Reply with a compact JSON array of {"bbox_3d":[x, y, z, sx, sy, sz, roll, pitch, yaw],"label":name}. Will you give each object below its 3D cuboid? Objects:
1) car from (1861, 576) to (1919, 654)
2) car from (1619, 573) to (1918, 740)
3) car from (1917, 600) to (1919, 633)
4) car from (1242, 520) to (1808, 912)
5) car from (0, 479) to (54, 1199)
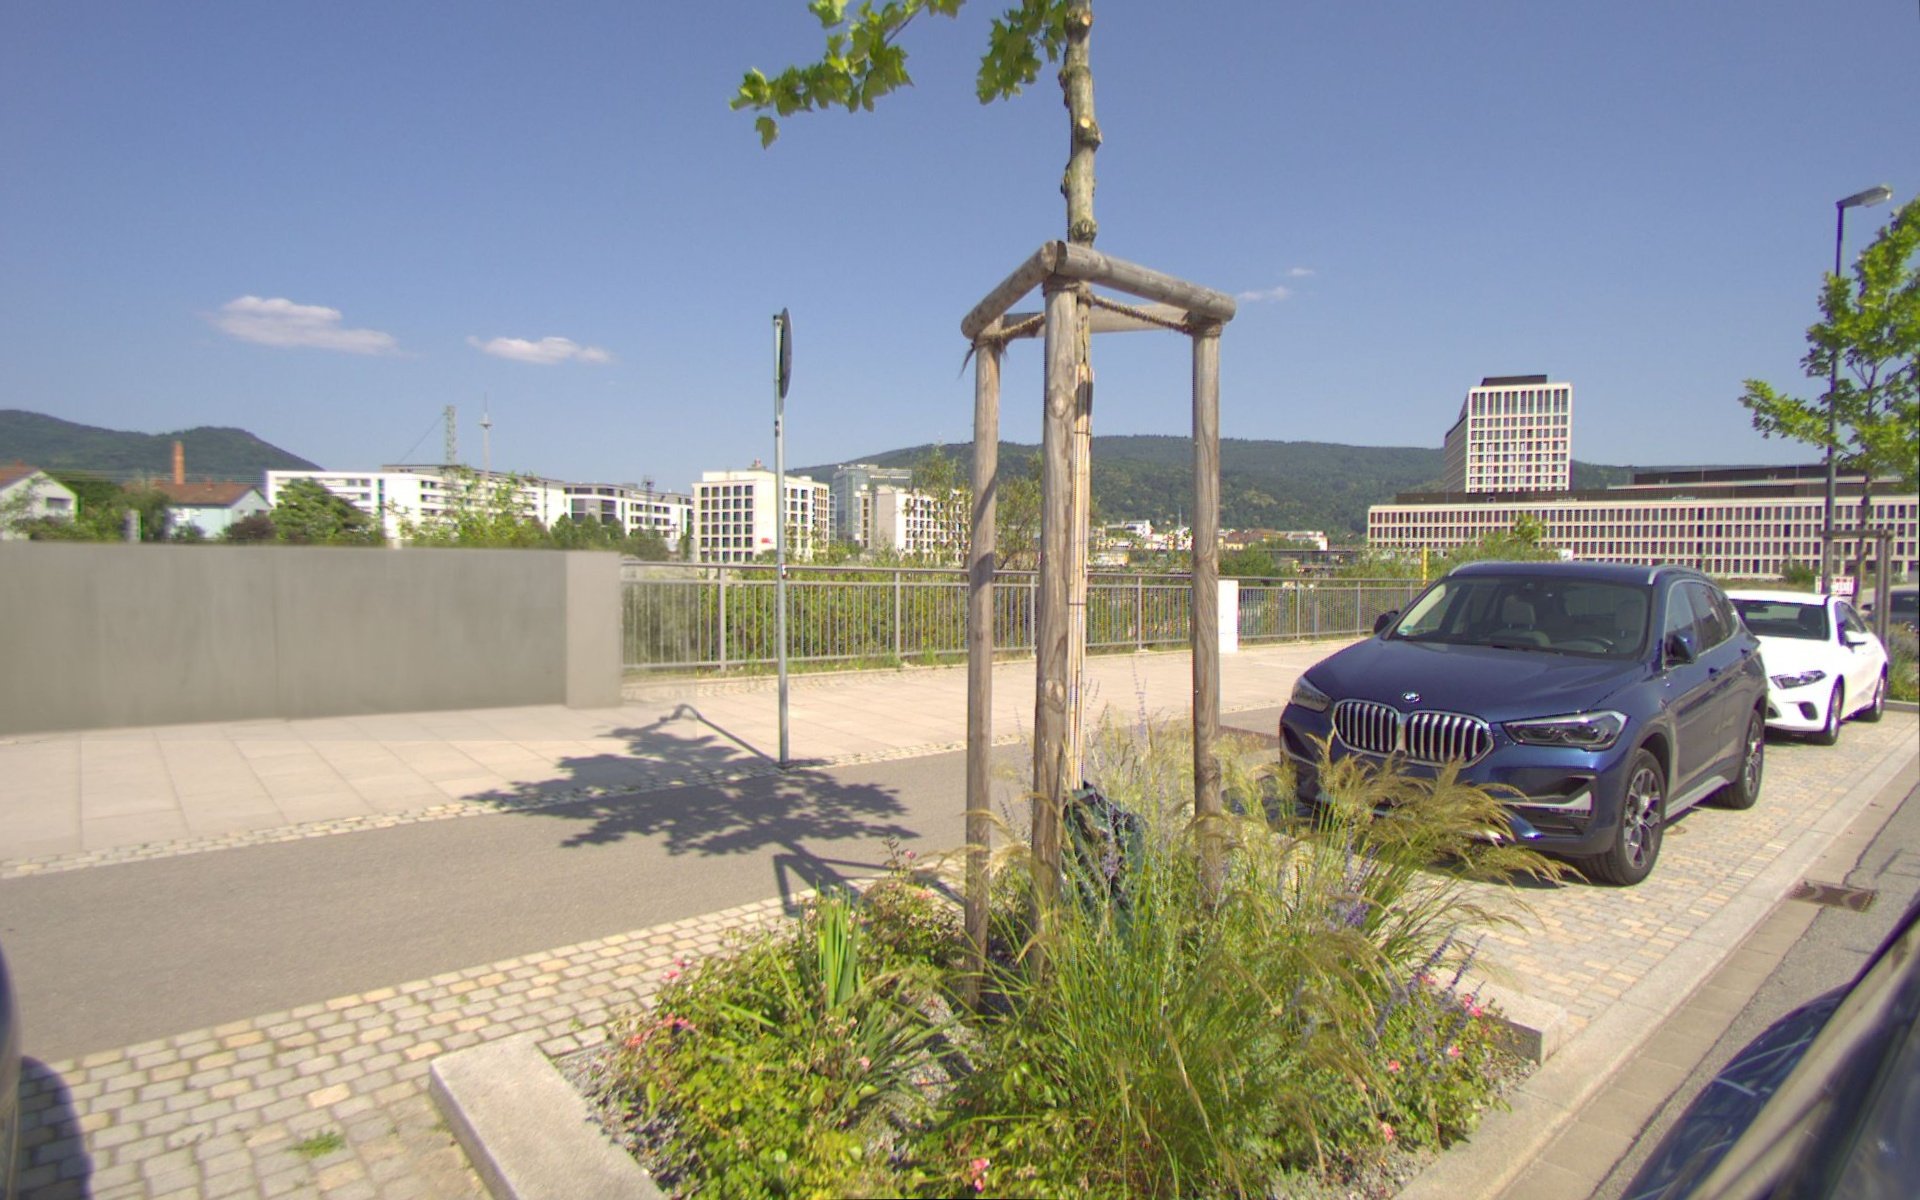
[{"bbox_3d":[20.213,0.288,20.965,3.849,1.449,1.808,-1,5,-41],"label":"car"},{"bbox_3d":[8.896,0.450,11.013,4.196,1.390,1.711,-1,5,-40],"label":"car"},{"bbox_3d":[27.568,0.162,27.757,2.955,1.491,1.569,-1,5,-41],"label":"car"},{"bbox_3d":[3.786,0.414,6.444,4.197,1.703,1.807,-1,4,-41],"label":"car"},{"bbox_3d":[-2.829,0.607,0.515,3.485,1.574,1.585,0,4,-41],"label":"car"}]
